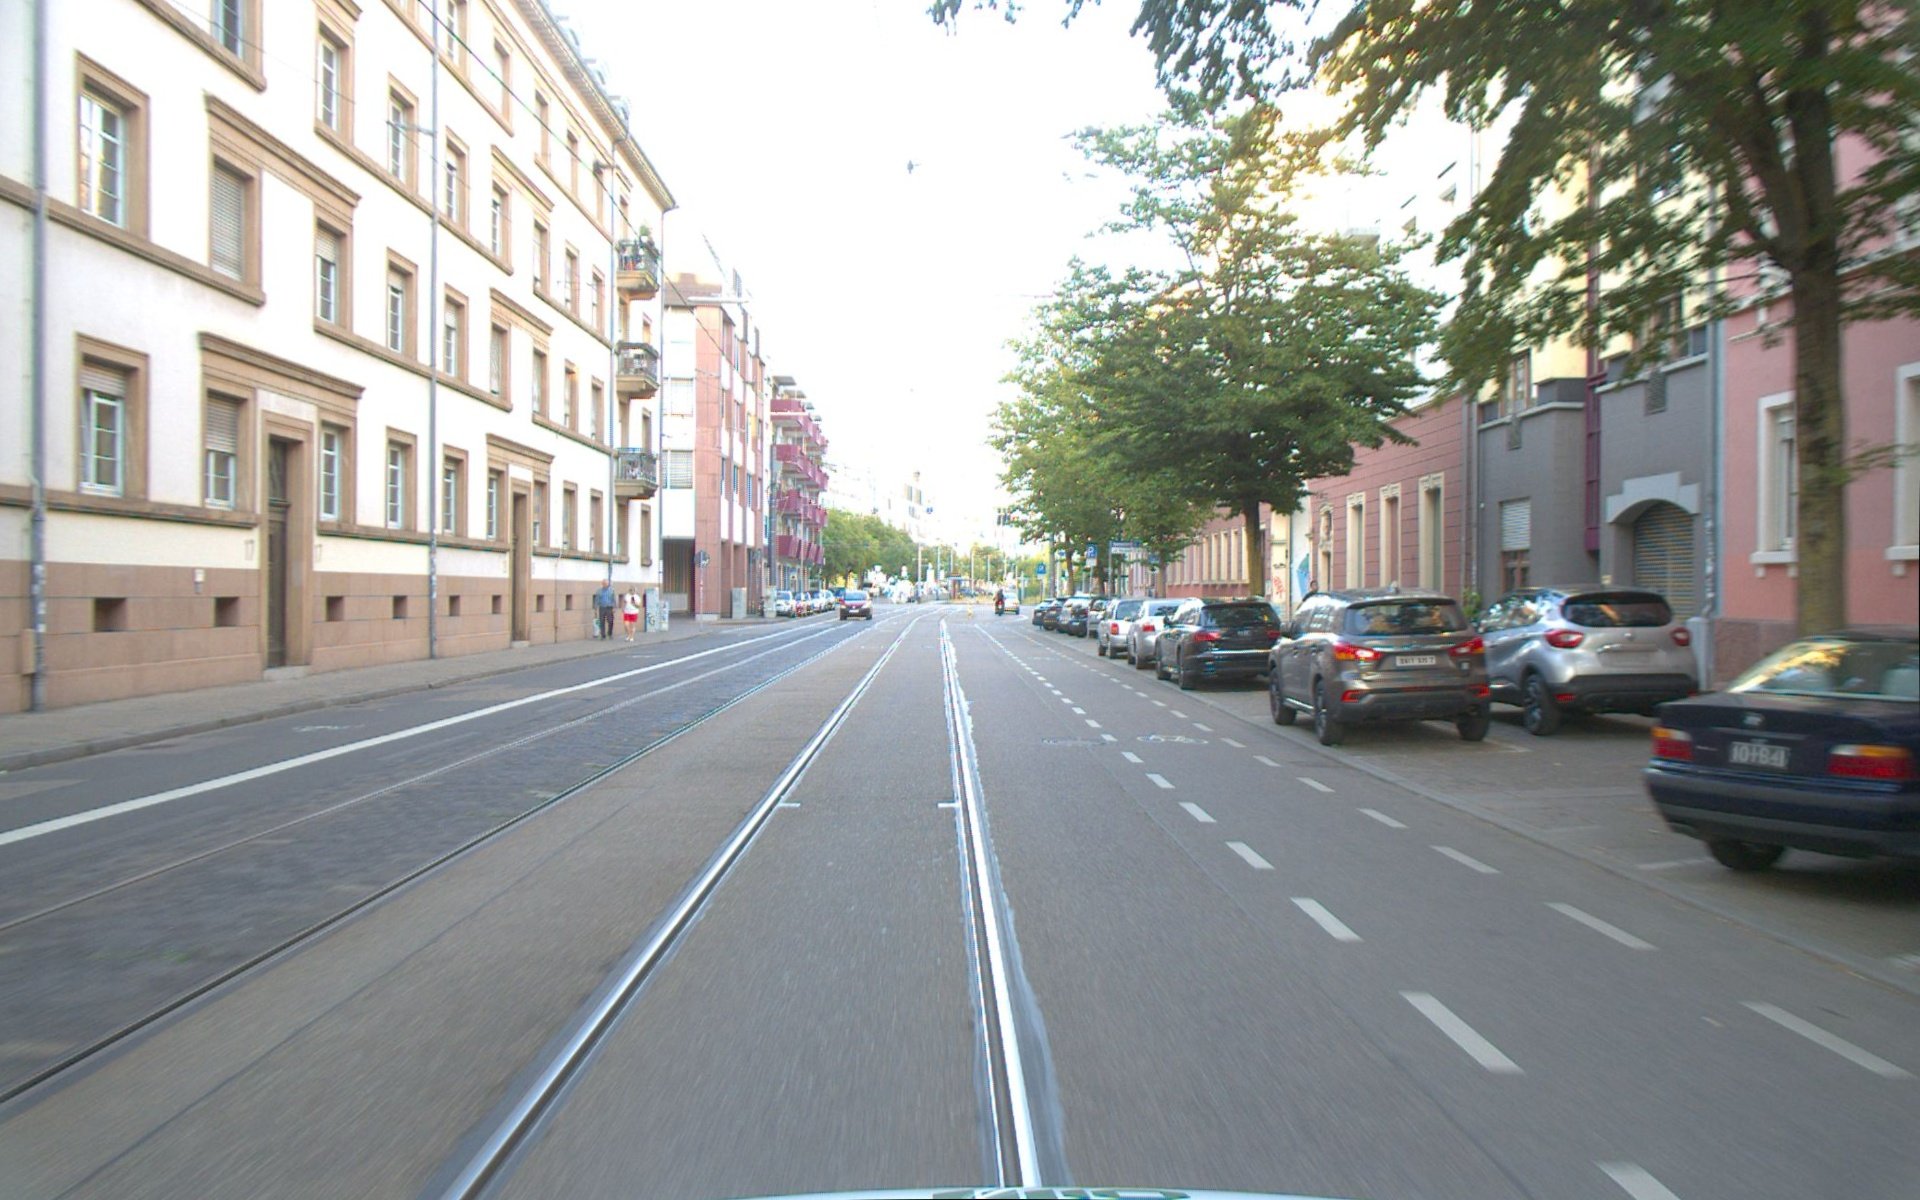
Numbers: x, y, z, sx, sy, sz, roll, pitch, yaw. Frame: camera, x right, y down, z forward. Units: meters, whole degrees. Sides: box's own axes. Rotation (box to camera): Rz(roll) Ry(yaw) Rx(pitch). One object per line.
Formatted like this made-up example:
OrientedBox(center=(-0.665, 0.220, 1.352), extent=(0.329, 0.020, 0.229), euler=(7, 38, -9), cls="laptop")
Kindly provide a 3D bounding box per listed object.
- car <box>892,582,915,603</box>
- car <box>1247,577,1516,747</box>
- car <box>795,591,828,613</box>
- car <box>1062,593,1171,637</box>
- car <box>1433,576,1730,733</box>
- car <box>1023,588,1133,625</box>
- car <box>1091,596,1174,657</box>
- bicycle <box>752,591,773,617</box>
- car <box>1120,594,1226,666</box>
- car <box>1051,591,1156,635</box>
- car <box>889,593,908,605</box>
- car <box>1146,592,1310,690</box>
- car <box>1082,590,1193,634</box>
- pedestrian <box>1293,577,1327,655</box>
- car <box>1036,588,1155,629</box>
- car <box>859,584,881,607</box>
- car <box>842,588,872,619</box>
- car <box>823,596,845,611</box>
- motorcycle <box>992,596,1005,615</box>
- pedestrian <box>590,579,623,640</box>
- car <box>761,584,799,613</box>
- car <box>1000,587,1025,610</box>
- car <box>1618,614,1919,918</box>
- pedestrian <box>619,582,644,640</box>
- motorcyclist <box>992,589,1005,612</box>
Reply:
OrientedBox(center=(-6.958, -0.929, 203.664), extent=(2.409, 2.526, 5.810), euler=(0, 0, 3), cls="car")
OrientedBox(center=(4.645, 0.620, 18.883), extent=(1.841, 1.646, 4.261), euler=(-2, 0, -1), cls="car")
OrientedBox(center=(-10.326, 0.168, 115.221), extent=(1.656, 1.438, 4.678), euler=(2, 0, 1), cls="car")
OrientedBox(center=(5.551, 0.515, 58.694), extent=(3.512, 1.454, 1.655), euler=(-1, 0, -26), cls="car")
OrientedBox(center=(6.972, 0.552, 19.028), extent=(1.841, 1.612, 4.019), euler=(0, 0, -1), cls="car")
OrientedBox(center=(5.187, 0.265, 72.479), extent=(4.547, 1.482, 1.697), euler=(-2, 1, -26), cls="car")
OrientedBox(center=(4.245, 0.629, 41.142), extent=(1.586, 1.405, 3.775), euler=(-2, 0, -1), cls="car")
OrientedBox(center=(-10.781, 0.198, 90.418), extent=(0.595, 1.402, 2.260), euler=(0, 0, 7), cls="bicycle")
OrientedBox(center=(4.514, 0.595, 35.601), extent=(1.743, 1.405, 4.692), euler=(-2, 0, 1), cls="car")
OrientedBox(center=(5.323, 0.472, 61.415), extent=(3.512, 1.543, 1.729), euler=(-1, 0, -26), cls="car")
OrientedBox(center=(-7.318, -0.142, 197.912), extent=(1.647, 1.464, 4.129), euler=(0, 0, 6), cls="car")
OrientedBox(center=(4.486, 0.643, 28.432), extent=(1.953, 1.515, 5.035), euler=(-1, 0, 0), cls="car")
OrientedBox(center=(6.060, 0.425, 56.567), extent=(3.431, 1.454, 1.611), euler=(0, -2, -20), cls="car")
OrientedBox(center=(8.407, 0.385, 39.727), extent=(0.666, 1.848, 0.600), euler=(0, 0, -1), cls="pedestrian")
OrientedBox(center=(5.447, 0.341, 66.522), extent=(4.386, 1.543, 2.048), euler=(-1, 0, -24), cls="car")
OrientedBox(center=(-13.067, -0.679, 240.276), extent=(2.154, 3.207, 6.147), euler=(0, 0, 7), cls="car")
OrientedBox(center=(-5.551, 0.169, 89.503), extent=(1.528, 1.585, 3.753), euler=(-1, 0, -3), cls="car")
OrientedBox(center=(-14.281, 0.384, 187.937), extent=(1.647, 1.729, 4.242), euler=(0, 0, 8), cls="car")
OrientedBox(center=(2.558, 0.343, 109.062), extent=(0.811, 1.261, 2.492), euler=(0, 0, 2), cls="motorcycle")
OrientedBox(center=(-10.156, 0.271, 47.558), extent=(0.779, 1.731, 0.981), euler=(0, 0, -3), cls="pedestrian")
OrientedBox(center=(-10.291, -0.092, 94.950), extent=(1.682, 1.583, 4.203), euler=(2, 0, 0), cls="car")
OrientedBox(center=(3.790, -0.097, 118.901), extent=(1.681, 1.583, 4.204), euler=(1, 0, 1), cls="car")
OrientedBox(center=(5.906, 0.798, 9.499), extent=(4.198, 1.412, 1.607), euler=(0, 0, -27), cls="car")
OrientedBox(center=(-9.442, 0.316, 47.608), extent=(0.579, 1.638, 0.811), euler=(0, 0, -3), cls="pedestrian")
OrientedBox(center=(2.562, 0.041, 109.105), extent=(0.811, 1.499, 1.207), euler=(0, 0, 3), cls="motorcyclist")
